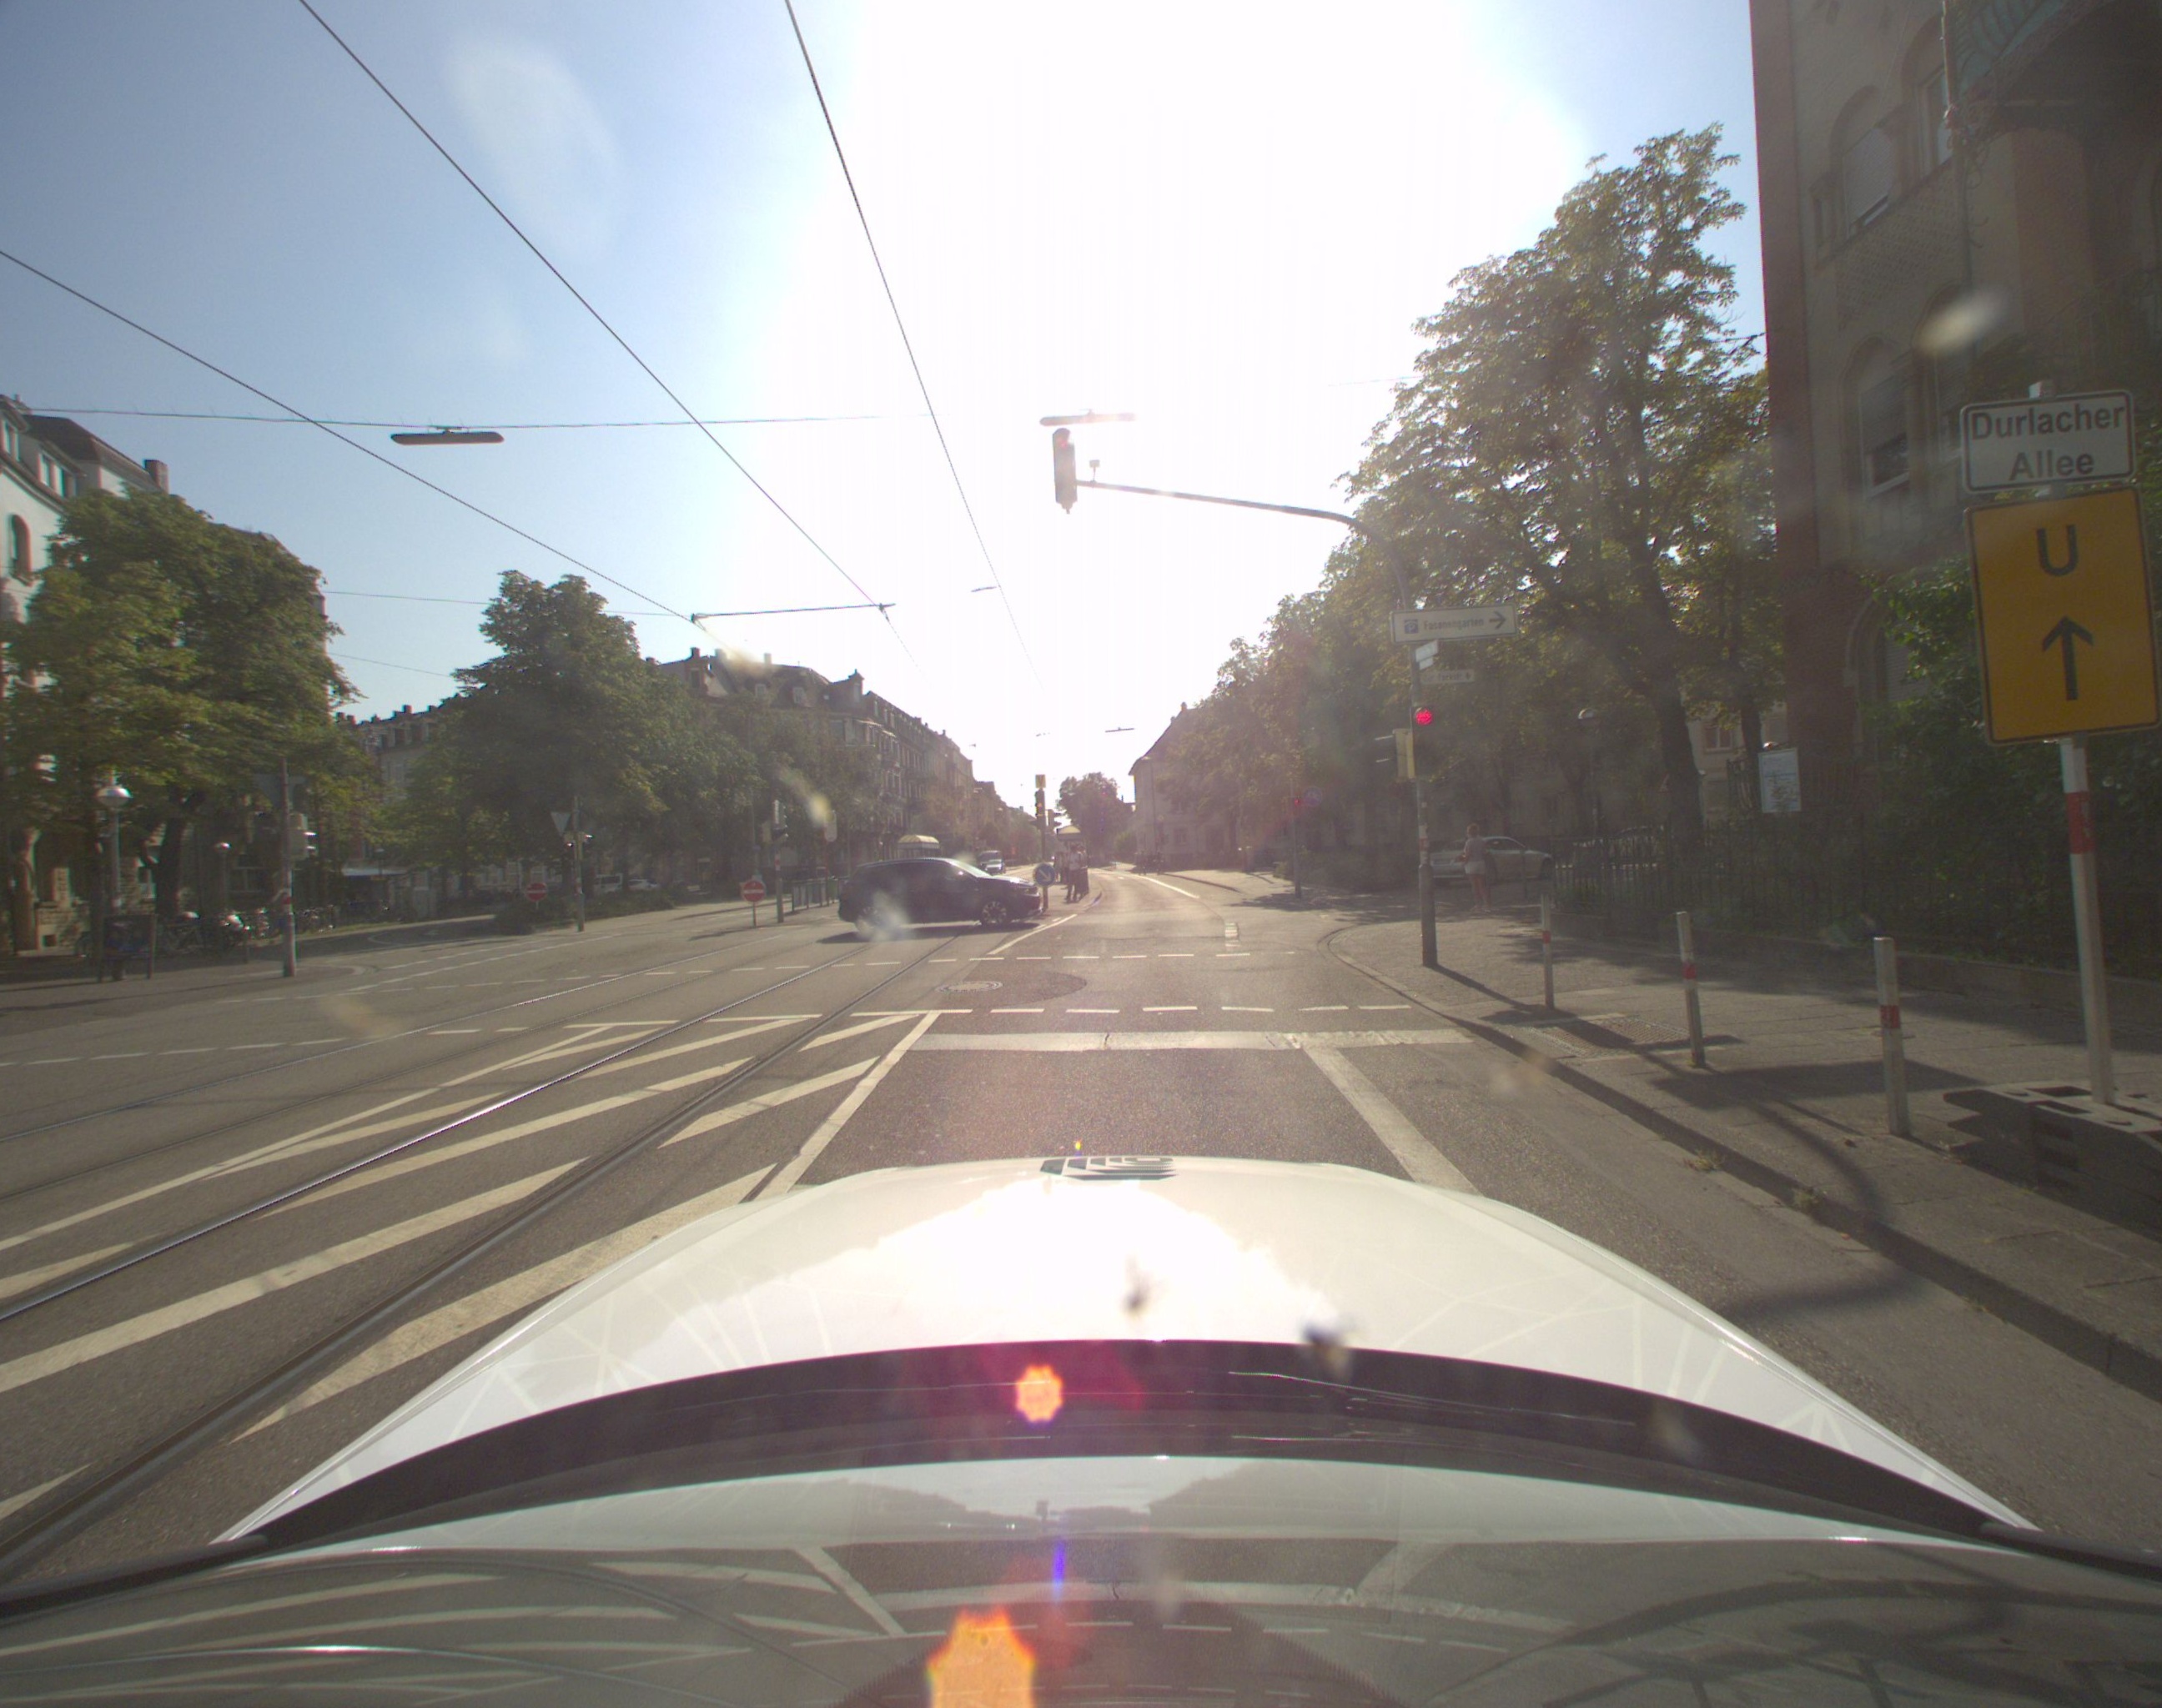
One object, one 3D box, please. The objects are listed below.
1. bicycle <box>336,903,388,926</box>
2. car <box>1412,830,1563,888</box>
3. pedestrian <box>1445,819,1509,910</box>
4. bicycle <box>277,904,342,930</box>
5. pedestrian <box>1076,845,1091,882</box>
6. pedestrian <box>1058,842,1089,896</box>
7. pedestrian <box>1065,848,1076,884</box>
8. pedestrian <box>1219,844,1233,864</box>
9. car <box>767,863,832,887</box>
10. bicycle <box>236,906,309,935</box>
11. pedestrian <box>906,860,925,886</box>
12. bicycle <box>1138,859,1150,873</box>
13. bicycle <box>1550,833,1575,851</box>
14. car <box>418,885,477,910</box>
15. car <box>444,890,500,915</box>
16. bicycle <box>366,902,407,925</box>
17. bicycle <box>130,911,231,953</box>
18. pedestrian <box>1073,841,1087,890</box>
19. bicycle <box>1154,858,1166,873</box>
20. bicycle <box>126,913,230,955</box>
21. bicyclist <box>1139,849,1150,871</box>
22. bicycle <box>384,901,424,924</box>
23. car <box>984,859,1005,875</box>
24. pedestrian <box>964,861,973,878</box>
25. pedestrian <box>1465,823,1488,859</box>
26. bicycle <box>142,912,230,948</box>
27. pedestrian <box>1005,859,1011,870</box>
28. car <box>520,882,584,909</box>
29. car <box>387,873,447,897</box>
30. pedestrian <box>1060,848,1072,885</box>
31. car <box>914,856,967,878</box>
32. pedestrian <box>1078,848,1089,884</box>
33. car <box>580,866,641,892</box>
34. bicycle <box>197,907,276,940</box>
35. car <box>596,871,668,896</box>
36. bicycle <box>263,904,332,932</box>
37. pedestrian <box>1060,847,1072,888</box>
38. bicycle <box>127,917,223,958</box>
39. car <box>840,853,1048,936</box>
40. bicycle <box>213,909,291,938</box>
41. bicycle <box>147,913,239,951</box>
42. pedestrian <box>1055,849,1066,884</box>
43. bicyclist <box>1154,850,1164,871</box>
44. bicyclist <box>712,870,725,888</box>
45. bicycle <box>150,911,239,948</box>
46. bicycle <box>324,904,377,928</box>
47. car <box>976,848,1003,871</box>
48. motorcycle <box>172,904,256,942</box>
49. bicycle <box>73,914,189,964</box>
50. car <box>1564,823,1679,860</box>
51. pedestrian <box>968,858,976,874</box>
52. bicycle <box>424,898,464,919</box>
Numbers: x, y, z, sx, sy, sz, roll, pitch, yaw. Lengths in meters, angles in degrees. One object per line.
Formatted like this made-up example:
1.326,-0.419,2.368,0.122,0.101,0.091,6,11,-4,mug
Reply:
-34.986,2.932,39.638,1.772,0.978,0.600,-3,0,-23,bicycle
12.631,0.131,25.205,4.803,1.466,1.851,-3,-3,-32,car
7.825,0.206,16.115,0.749,1.731,0.769,-3,0,-9,pedestrian
-32.925,2.684,34.784,1.877,0.935,0.635,-2,-1,-18,bicycle
0.113,0.450,39.895,0.706,1.759,0.534,-1,2,0,pedestrian
-0.254,0.474,26.730,0.693,1.725,0.753,1,3,33,pedestrian
-0.526,0.596,40.516,0.541,1.759,0.534,-1,2,0,pedestrian
13.167,0.030,73.905,0.882,1.740,0.781,-3,0,30,pedestrian
-21.971,1.619,63.538,4.356,1.569,1.978,-3,0,-36,car
-31.805,2.613,32.081,1.908,0.980,0.679,-2,-1,-34,bicycle
-9.014,1.034,44.350,0.826,1.359,0.775,-3,0,-4,pedestrian
4.531,0.851,58.330,0.627,0.978,1.769,-3,0,-1,bicycle
28.145,-0.685,47.632,0.423,0.978,1.554,-3,0,-2,bicycle
-52.405,3.575,67.352,3.952,1.828,2.011,-3,0,22,car
-52.276,4.159,69.940,3.952,1.828,2.011,-3,0,22,car
-33.752,2.892,39.577,0.423,0.978,1.770,-3,0,0,bicycle
-26.202,2.257,23.730,1.888,1.034,0.563,-2,-1,-39,bicycle
-0.048,0.426,30.995,0.502,1.833,0.534,-1,2,0,pedestrian
5.579,0.823,57.697,0.556,0.978,1.855,-3,0,-1,bicycle
-25.141,2.207,22.704,0.562,1.003,1.890,-3,-1,37,bicycle
4.517,0.436,58.231,0.627,1.507,0.678,-3,0,-1,bicyclist
-33.379,2.881,40.165,0.423,0.978,1.770,-3,0,0,bicycle
-9.282,1.380,87.646,1.795,1.653,3.643,-3,0,1,car
-11.616,1.597,84.189,0.747,1.731,0.772,-3,0,2,pedestrian
20.165,-0.661,41.557,0.884,1.740,0.780,-3,0,20,pedestrian
-28.778,2.422,26.216,1.814,0.977,0.652,-2,-1,-41,bicycle
-11.903,1.722,132.421,0.749,1.731,0.769,-3,0,-9,pedestrian
-40.246,3.162,61.979,3.953,1.828,2.010,-3,0,20,car
-58.822,2.726,72.171,3.959,1.828,2.007,-3,0,13,car
-0.745,0.608,39.708,0.541,1.759,0.534,-1,2,0,pedestrian
-11.994,1.117,69.539,4.328,1.569,1.990,-3,0,-14,car
0.114,0.579,40.513,0.502,1.759,0.534,-1,2,0,pedestrian
-36.773,1.942,63.664,3.952,1.828,2.011,-3,0,22,car
-30.612,2.521,29.556,1.886,1.027,0.657,-2,-1,-34,bicycle
-32.512,2.142,59.026,4.290,1.569,2.008,-3,0,14,car
-32.147,2.628,33.442,1.908,0.980,0.679,-2,-1,-34,bicycle
-0.647,0.585,35.699,0.502,1.759,0.534,-1,2,0,pedestrian
-24.093,2.195,21.684,0.473,0.920,1.619,-3,-1,30,bicycle
-2.936,0.858,18.021,4.198,1.515,1.613,-3,1,1,car
-31.203,2.603,30.678,1.919,0.935,0.730,-2,-1,-34,bicycle
-27.063,2.352,24.862,1.814,0.984,0.563,-2,-1,-41,bicycle
-1.071,0.619,41.936,0.530,1.759,0.545,-1,2,1,pedestrian
5.550,0.461,57.884,0.556,1.416,0.871,-3,0,-1,bicyclist
-26.966,1.861,60.630,0.822,1.328,0.544,-3,0,-23,bicyclist
-27.920,2.373,25.700,1.814,0.983,0.652,-2,-1,-41,bicycle
-34.858,2.930,38.861,1.771,0.978,0.516,-3,0,-22,bicycle
-11.477,0.683,102.797,2.337,2.662,5.111,-3,0,4,car
-30.314,2.407,28.505,1.882,1.154,0.601,-2,-1,-34,motorcycle
-24.984,2.225,21.461,0.563,1.113,1.888,-3,-1,21,bicycle
23.052,-0.495,34.945,1.752,1.428,4.133,-3,0,-8,car
-11.642,1.279,87.039,0.749,1.731,0.769,-3,0,-9,pedestrian
-34.006,2.909,43.481,1.755,0.978,0.606,-3,0,7,bicycle
